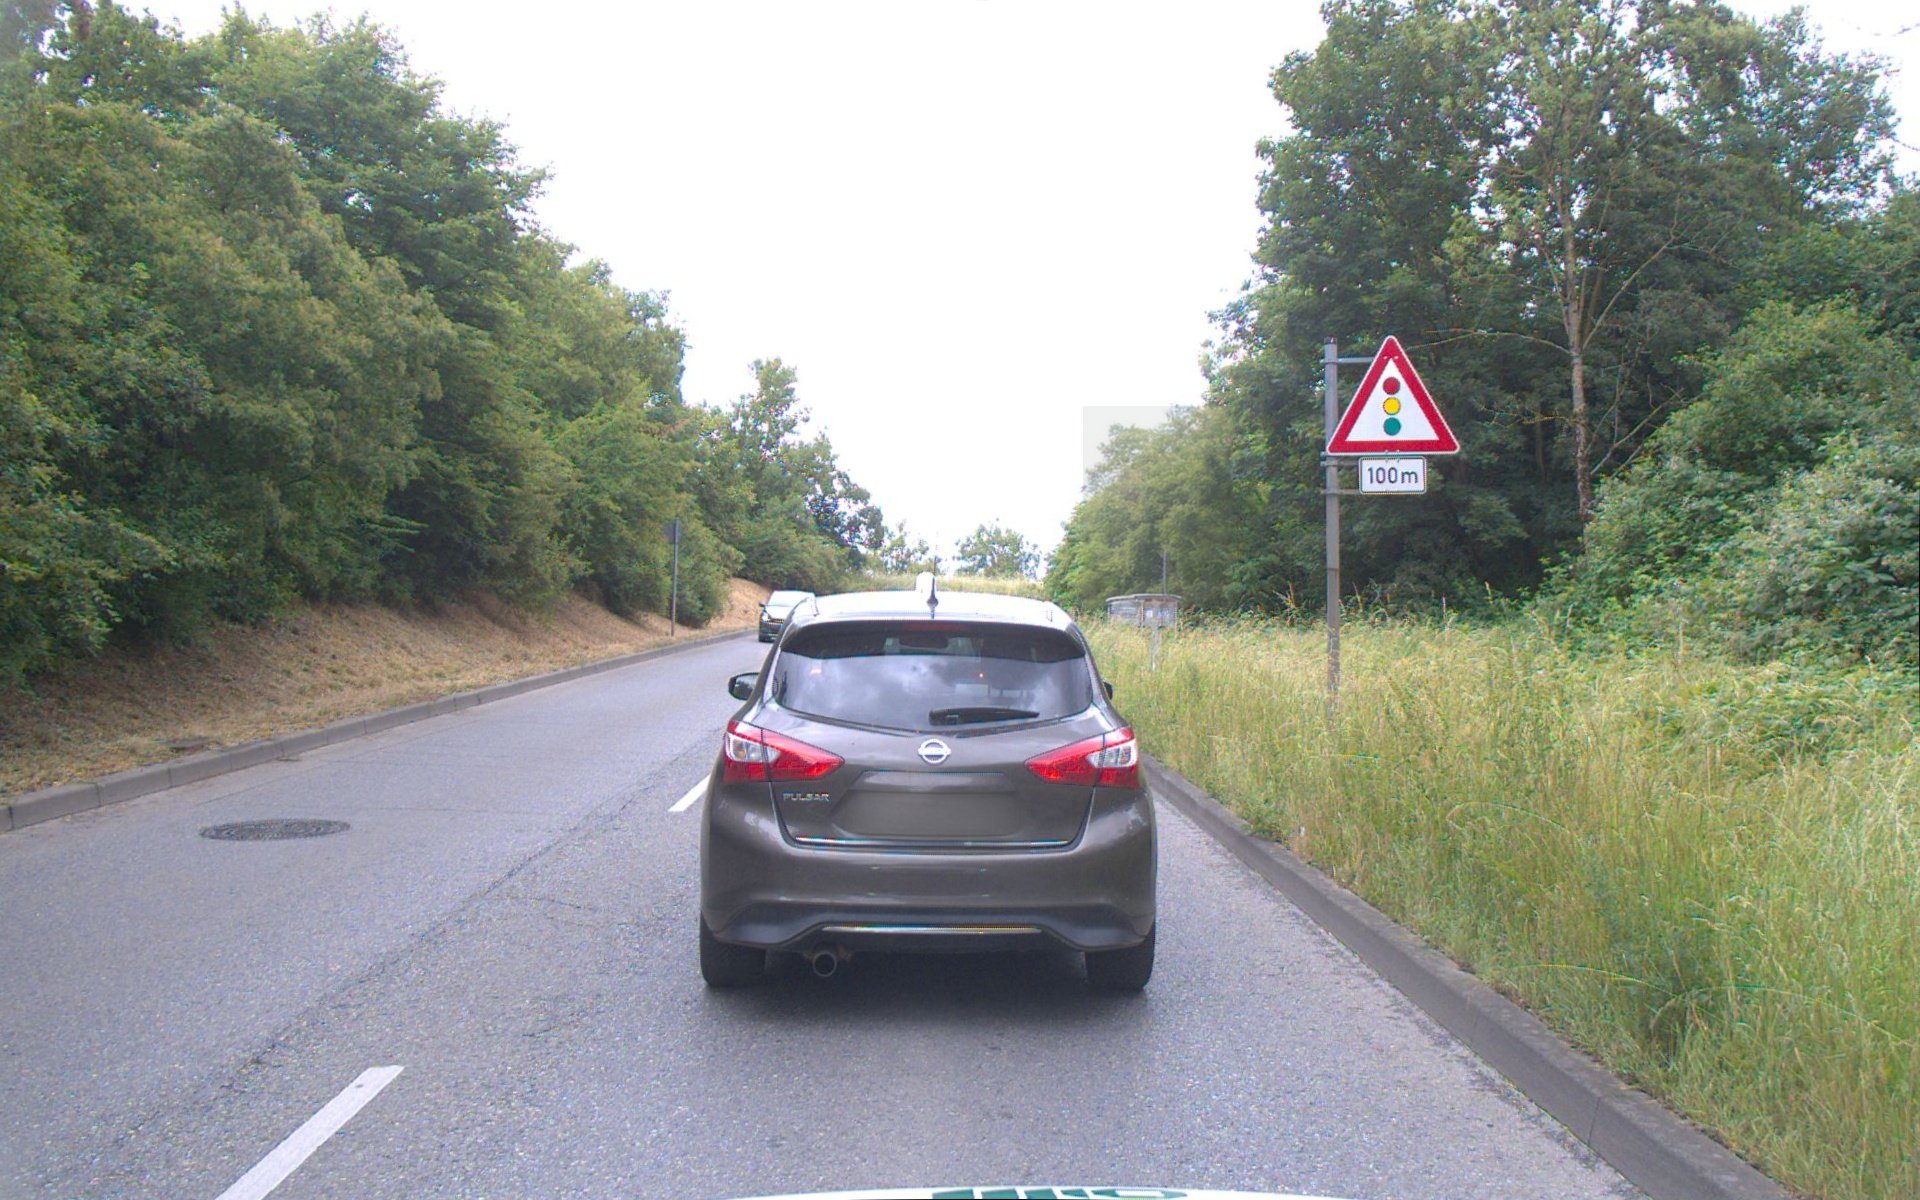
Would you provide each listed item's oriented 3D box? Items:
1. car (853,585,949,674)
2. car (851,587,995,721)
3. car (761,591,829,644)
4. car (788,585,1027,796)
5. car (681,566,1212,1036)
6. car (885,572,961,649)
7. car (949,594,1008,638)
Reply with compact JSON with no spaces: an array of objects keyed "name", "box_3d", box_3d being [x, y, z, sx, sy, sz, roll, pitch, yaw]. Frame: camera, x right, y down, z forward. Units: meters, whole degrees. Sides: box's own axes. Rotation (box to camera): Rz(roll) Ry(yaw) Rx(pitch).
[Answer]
[{"name":"car","box_3d":[-1.057,0.512,31.114,1.700,1.583,3.543,0,0,-1]},{"name":"car","box_3d":[-0.451,0.632,21.379,1.700,1.583,3.543,0,0,-1]},{"name":"car","box_3d":[-4.660,0.472,47.079,1.609,1.425,3.820,1,0,-1]},{"name":"car","box_3d":[-0.408,0.675,14.263,1.793,1.583,3.624,0,0,-1]},{"name":"car","box_3d":[-0.109,0.679,7.369,1.793,1.583,3.497,0,0,-2]},{"name":"car","box_3d":[-0.959,0.259,44.331,1.699,1.968,3.545,0,0,4]},{"name":"car","box_3d":[0.710,0.572,60.850,1.699,1.553,3.546,0,0,8]}]
